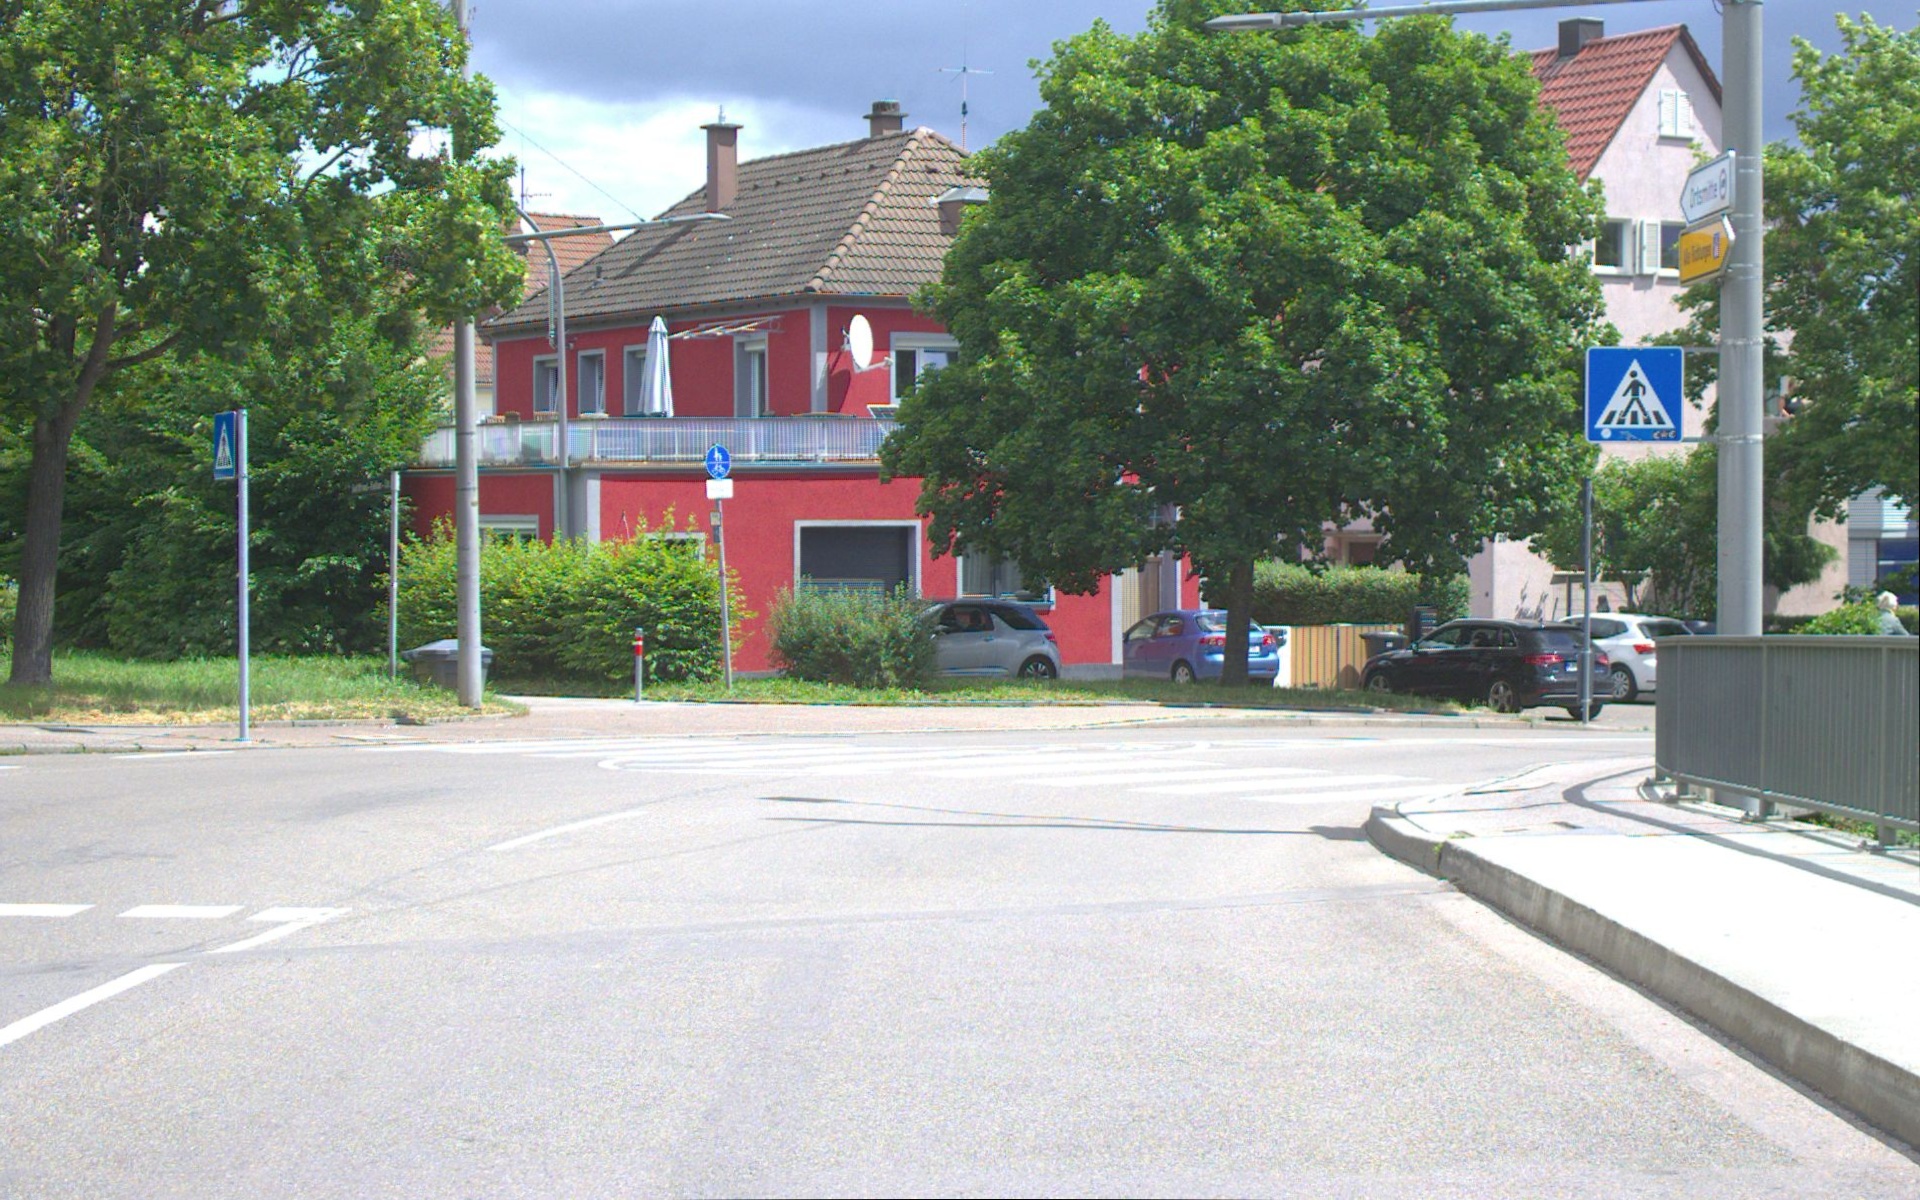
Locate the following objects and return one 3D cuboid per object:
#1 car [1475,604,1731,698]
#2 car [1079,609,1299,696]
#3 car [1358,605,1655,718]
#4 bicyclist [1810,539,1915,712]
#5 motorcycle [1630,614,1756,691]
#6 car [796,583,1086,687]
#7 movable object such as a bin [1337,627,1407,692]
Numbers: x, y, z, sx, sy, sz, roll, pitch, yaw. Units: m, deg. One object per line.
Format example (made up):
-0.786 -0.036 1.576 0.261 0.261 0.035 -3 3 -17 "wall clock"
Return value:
10.568 0.826 56.713 1.870 1.399 3.932 2 0 -35 "car"
3.842 0.875 58.248 1.837 1.373 3.814 1 0 -31 "car"
7.873 0.878 49.893 1.993 1.388 4.144 2 1 -31 "car"
9.796 0.285 37.296 0.686 1.820 1.078 0 -3 39 "bicyclist"
13.546 0.972 63.499 2.228 1.311 0.920 2 1 -33 "motorcycle"
-0.270 0.533 51.764 4.064 1.420 1.645 2 1 -32 "car"
7.107 1.023 59.356 0.877 1.058 0.758 2 1 -28 "movable object such as a bin"
